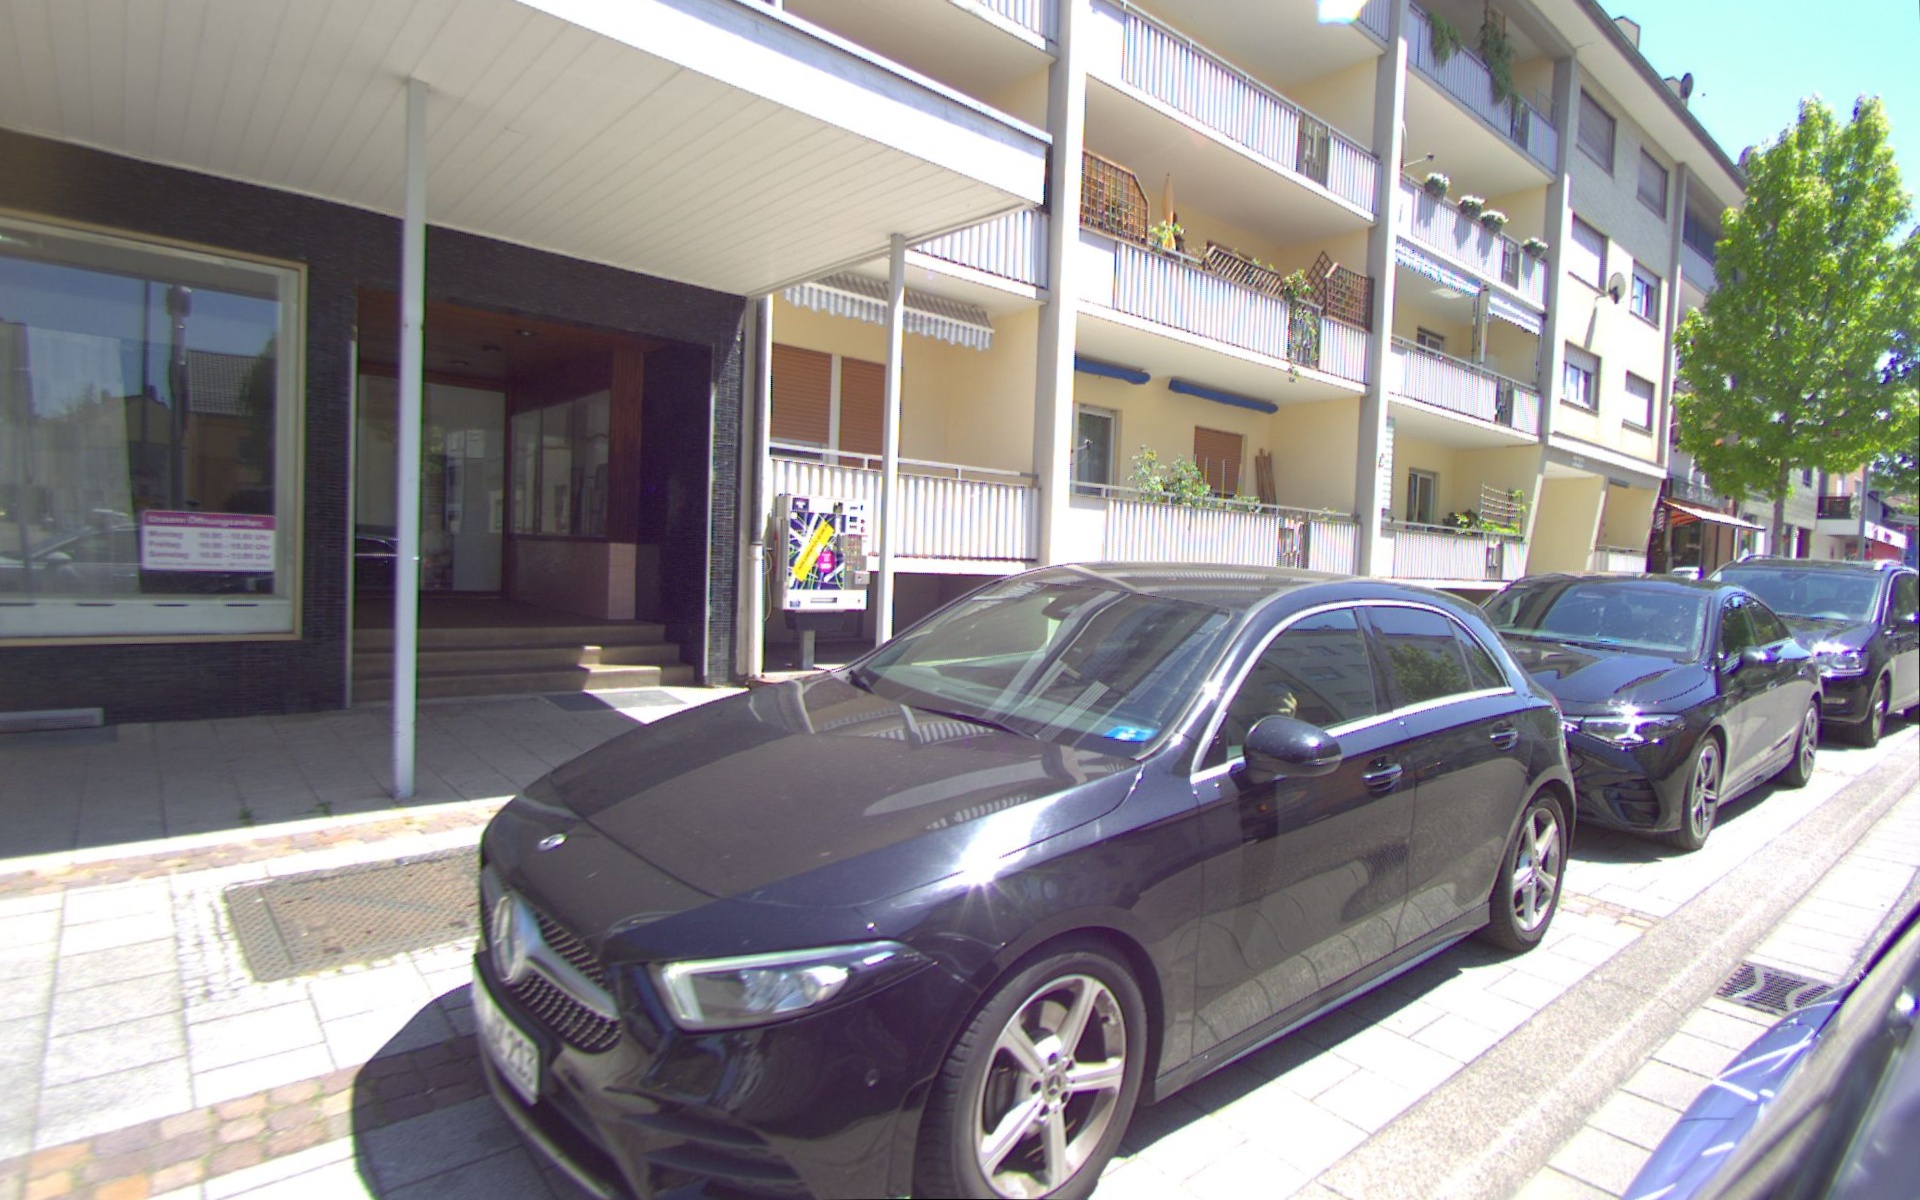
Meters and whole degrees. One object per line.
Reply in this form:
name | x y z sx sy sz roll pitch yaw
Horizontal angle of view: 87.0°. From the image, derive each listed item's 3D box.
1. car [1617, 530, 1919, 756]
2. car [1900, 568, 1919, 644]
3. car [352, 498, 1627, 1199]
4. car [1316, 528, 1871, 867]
car | 8.860 0.249 10.550 4.487 1.820 2.000 -2 5 -39
car | 22.533 0.154 22.531 4.149 1.602 1.727 -1 5 -39
car | 0.467 0.473 3.409 4.090 1.431 1.849 -1 5 -41
car | 4.531 0.368 6.934 4.489 1.548 1.899 -1 5 -41
